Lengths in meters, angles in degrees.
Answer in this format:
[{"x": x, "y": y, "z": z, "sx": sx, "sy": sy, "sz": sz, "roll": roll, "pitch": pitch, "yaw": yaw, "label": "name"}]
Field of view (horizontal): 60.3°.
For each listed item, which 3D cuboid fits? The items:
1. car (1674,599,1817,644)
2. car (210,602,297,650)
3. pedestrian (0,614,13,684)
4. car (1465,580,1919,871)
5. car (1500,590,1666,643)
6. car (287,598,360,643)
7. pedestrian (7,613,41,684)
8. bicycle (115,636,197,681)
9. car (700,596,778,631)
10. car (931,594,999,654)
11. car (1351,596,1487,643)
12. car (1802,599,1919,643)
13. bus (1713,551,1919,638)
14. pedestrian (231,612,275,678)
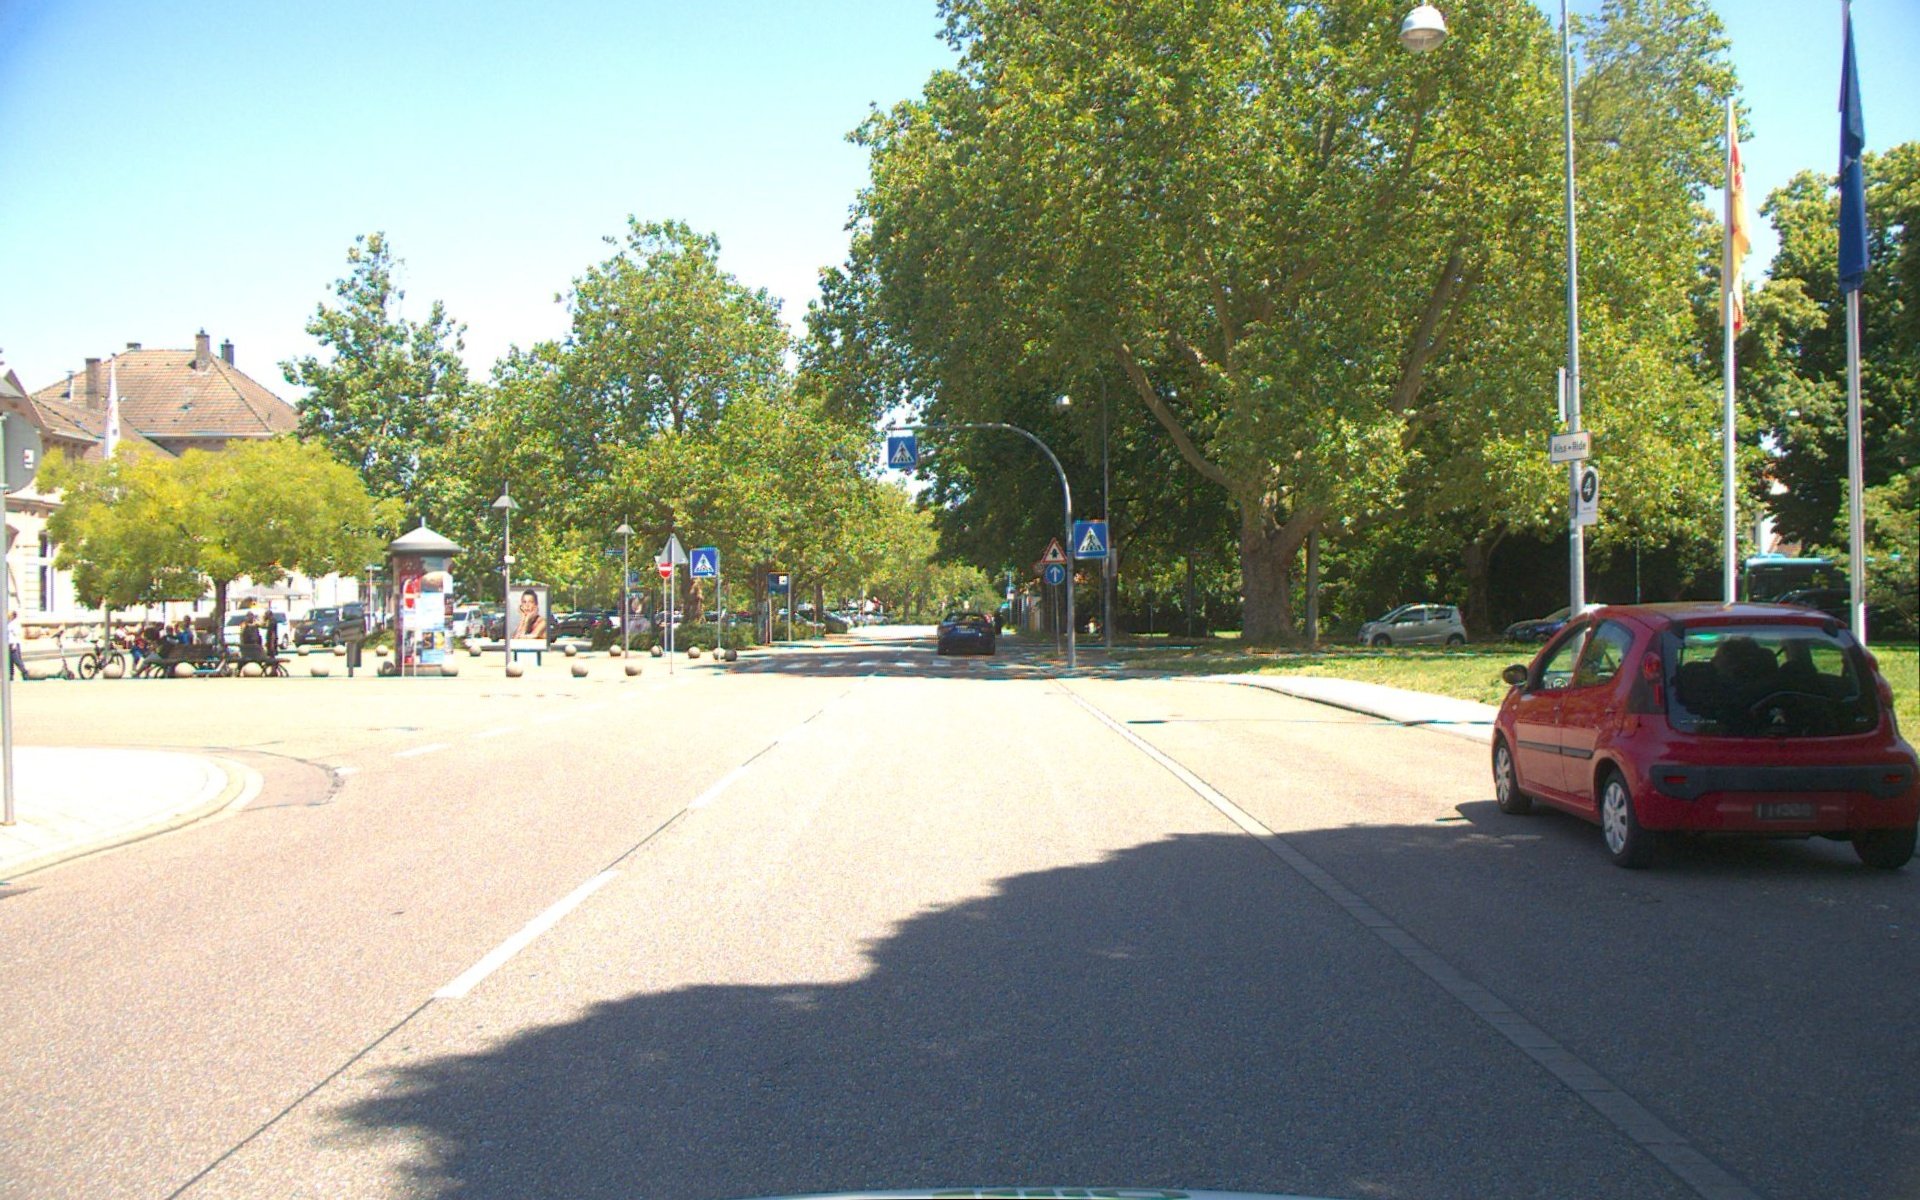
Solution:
[{"x": 26.039, "y": 0.735, "z": 54.953, "sx": 3.801, "sy": 1.479, "sz": 2.000, "roll": 0, "pitch": -2, "yaw": 1, "label": "car"}, {"x": -30.325, "y": 1.092, "z": 71.139, "sx": 1.715, "sy": 1.951, "sz": 4.775, "roll": -1, "pitch": 0, "yaw": -1, "label": "car"}, {"x": -23.601, "y": 1.198, "z": 40.419, "sx": 0.620, "sy": 1.703, "sz": 0.652, "roll": -3, "pitch": -3, "yaw": 44, "label": "pedestrian"}, {"x": 4.559, "y": 0.676, "z": 10.555, "sx": 1.683, "sy": 1.504, "sz": 3.707, "roll": -1, "pitch": -1, "yaw": 3, "label": "car"}, {"x": 20.439, "y": 0.538, "z": 54.448, "sx": 4.722, "sy": 1.636, "sz": 2.001, "roll": -1, "pitch": 0, "yaw": 3, "label": "car"}, {"x": -30.049, "y": 0.947, "z": 78.183, "sx": 1.953, "sy": 2.049, "sz": 3.999, "roll": -1, "pitch": 0, "yaw": -1, "label": "car"}, {"x": -23.191, "y": 1.207, "z": 40.966, "sx": 0.578, "sy": 1.740, "sz": 0.581, "roll": -3, "pitch": -3, "yaw": 44, "label": "pedestrian"}, {"x": -19.504, "y": 1.420, "z": 40.149, "sx": 1.769, "sy": 1.049, "sz": 0.485, "roll": 0, "pitch": -1, "yaw": -24, "label": "bicycle"}, {"x": -12.000, "y": 0.736, "z": 89.745, "sx": 3.926, "sy": 1.813, "sz": 1.989, "roll": 0, "pitch": -3, "yaw": -19, "label": "car"}, {"x": 0.132, "y": 0.774, "z": 53.918, "sx": 2.082, "sy": 1.881, "sz": 4.046, "roll": 0, "pitch": -1, "yaw": -2, "label": "car"}, {"x": 15.294, "y": 0.649, "z": 55.291, "sx": 4.019, "sy": 1.492, "sz": 2.001, "roll": -1, "pitch": 0, "yaw": 3, "label": "car"}, {"x": 30.549, "y": 0.720, "z": 54.847, "sx": 4.248, "sy": 1.441, "sz": 2.000, "roll": 0, "pitch": -2, "yaw": 0, "label": "car"}, {"x": 34.282, "y": -0.210, "z": 60.813, "sx": 12.125, "sy": 3.030, "sz": 2.268, "roll": -1, "pitch": -1, "yaw": 0, "label": "bus"}, {"x": -18.366, "y": 1.162, "z": 42.965, "sx": 0.744, "sy": 1.688, "sz": 0.721, "roll": -2, "pitch": -2, "yaw": 17, "label": "pedestrian"}]
